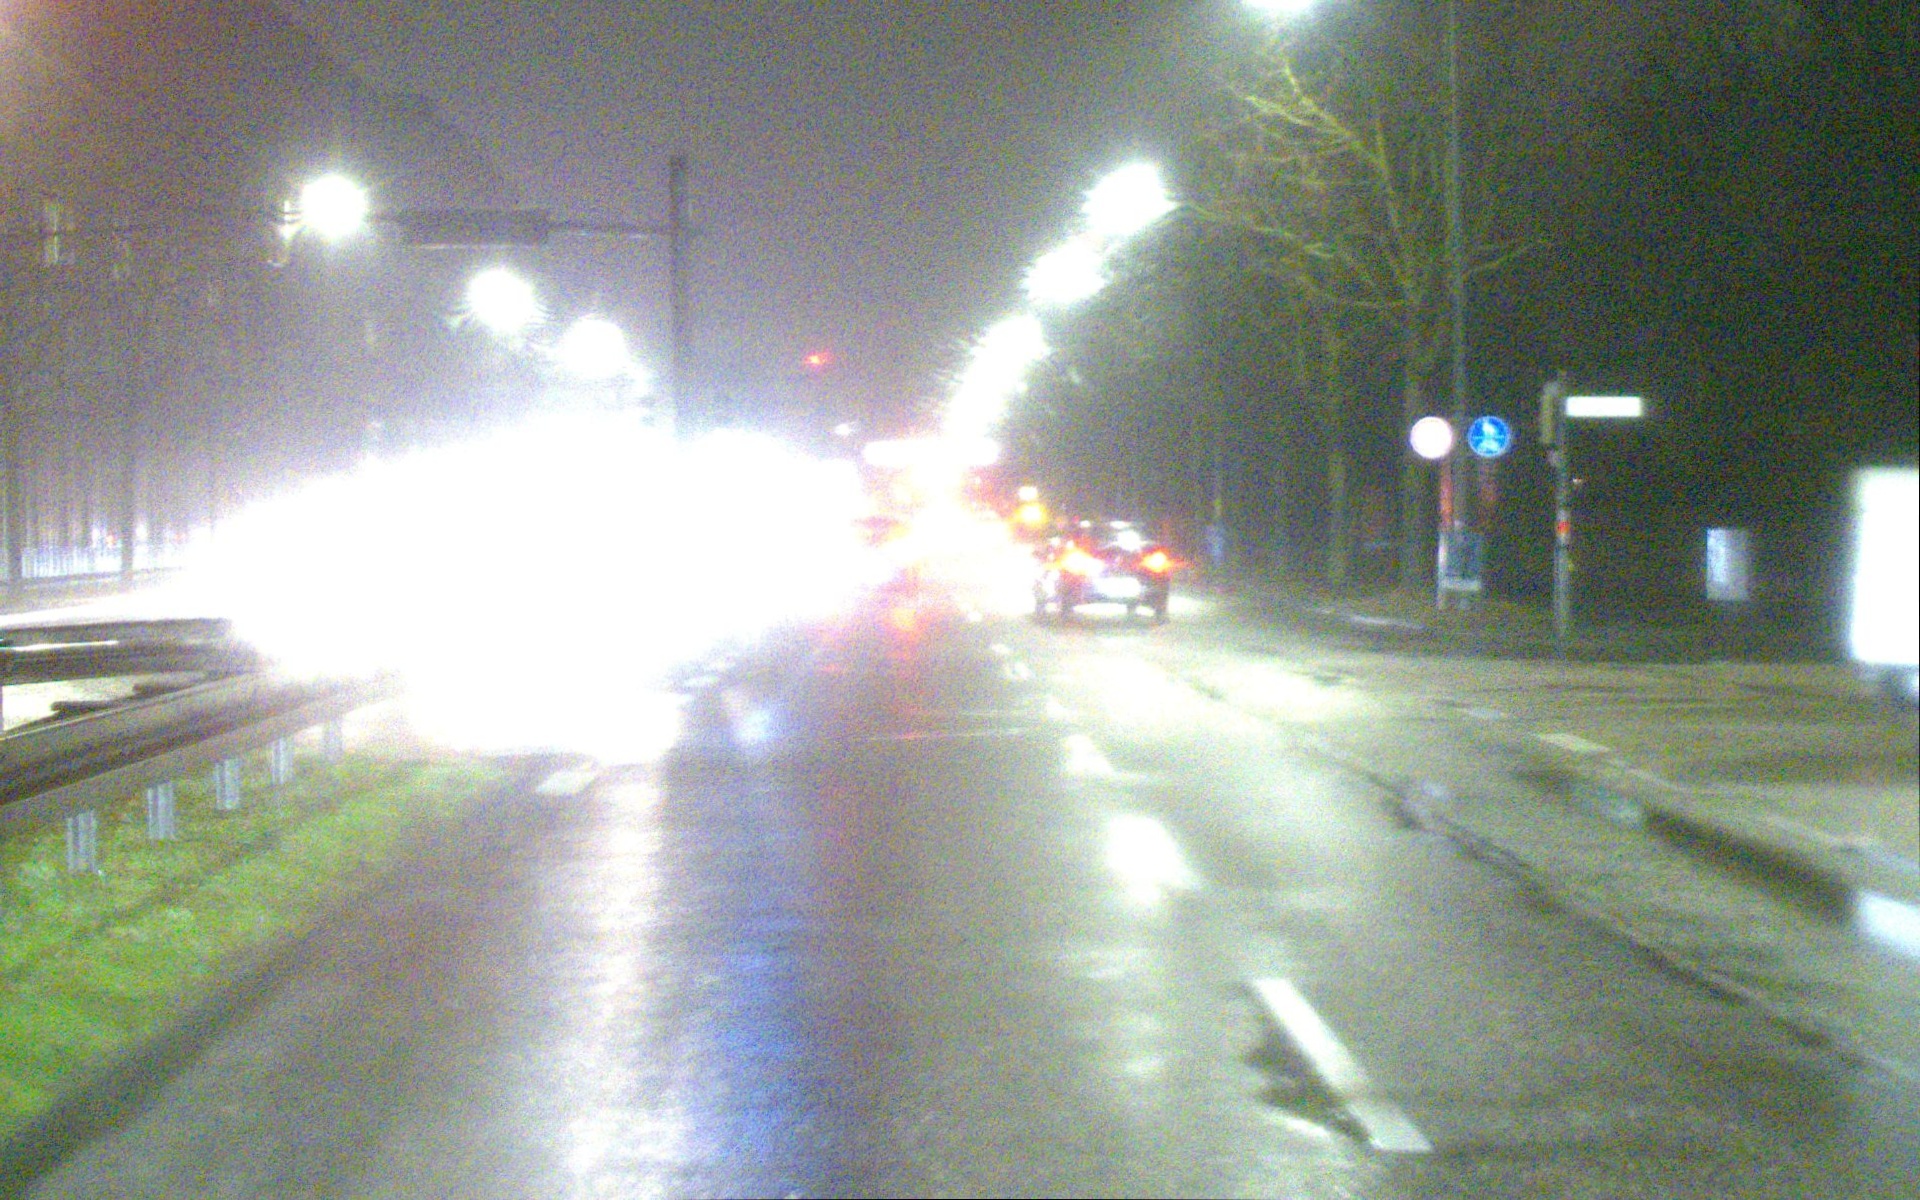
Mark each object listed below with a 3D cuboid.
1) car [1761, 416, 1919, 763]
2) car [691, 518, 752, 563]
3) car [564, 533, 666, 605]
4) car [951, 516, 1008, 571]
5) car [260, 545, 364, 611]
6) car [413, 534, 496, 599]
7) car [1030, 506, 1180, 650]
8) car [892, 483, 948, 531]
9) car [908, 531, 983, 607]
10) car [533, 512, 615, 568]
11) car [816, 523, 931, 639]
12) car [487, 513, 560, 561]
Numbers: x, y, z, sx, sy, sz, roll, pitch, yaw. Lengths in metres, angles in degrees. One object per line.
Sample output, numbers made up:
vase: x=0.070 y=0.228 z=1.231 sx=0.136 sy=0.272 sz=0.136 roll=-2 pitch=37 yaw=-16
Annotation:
car: x=6.685 y=-0.062 z=20.557 sx=3.557 sy=2.007 sz=1.703 roll=0 pitch=0 yaw=8
car: x=-8.324 y=-2.070 z=120.213 sx=1.885 sy=1.547 sz=4.433 roll=0 pitch=0 yaw=-1
car: x=-7.920 y=-0.705 z=79.230 sx=1.993 sy=1.604 sz=4.971 roll=0 pitch=0 yaw=-2
car: x=0.756 y=-2.114 z=129.767 sx=2.038 sy=2.007 sz=4.307 roll=0 pitch=0 yaw=2
car: x=-15.612 y=-0.526 z=83.030 sx=1.800 sy=1.559 sz=4.000 roll=0 pitch=0 yaw=-1
car: x=-13.897 y=-0.919 z=94.787 sx=1.749 sy=1.703 sz=4.499 roll=-2 pitch=1 yaw=-2
car: x=2.275 y=-0.351 z=54.914 sx=2.208 sy=2.207 sz=3.643 roll=0 pitch=0 yaw=0
car: x=-1.938 y=-4.412 z=164.008 sx=2.441 sy=2.186 sz=5.079 roll=0 pitch=0 yaw=-3
car: x=-0.397 y=-0.863 z=95.895 sx=2.038 sy=2.075 sz=4.307 roll=0 pitch=0 yaw=0
car: x=-10.954 y=-1.678 z=97.716 sx=1.885 sy=1.547 sz=4.433 roll=0 pitch=0 yaw=-1
car: x=-1.527 y=-0.351 z=61.589 sx=1.993 sy=2.007 sz=4.000 roll=0 pitch=0 yaw=-1
car: x=-14.298 y=-2.056 z=112.899 sx=1.885 sy=1.547 sz=4.433 roll=0 pitch=0 yaw=-1
